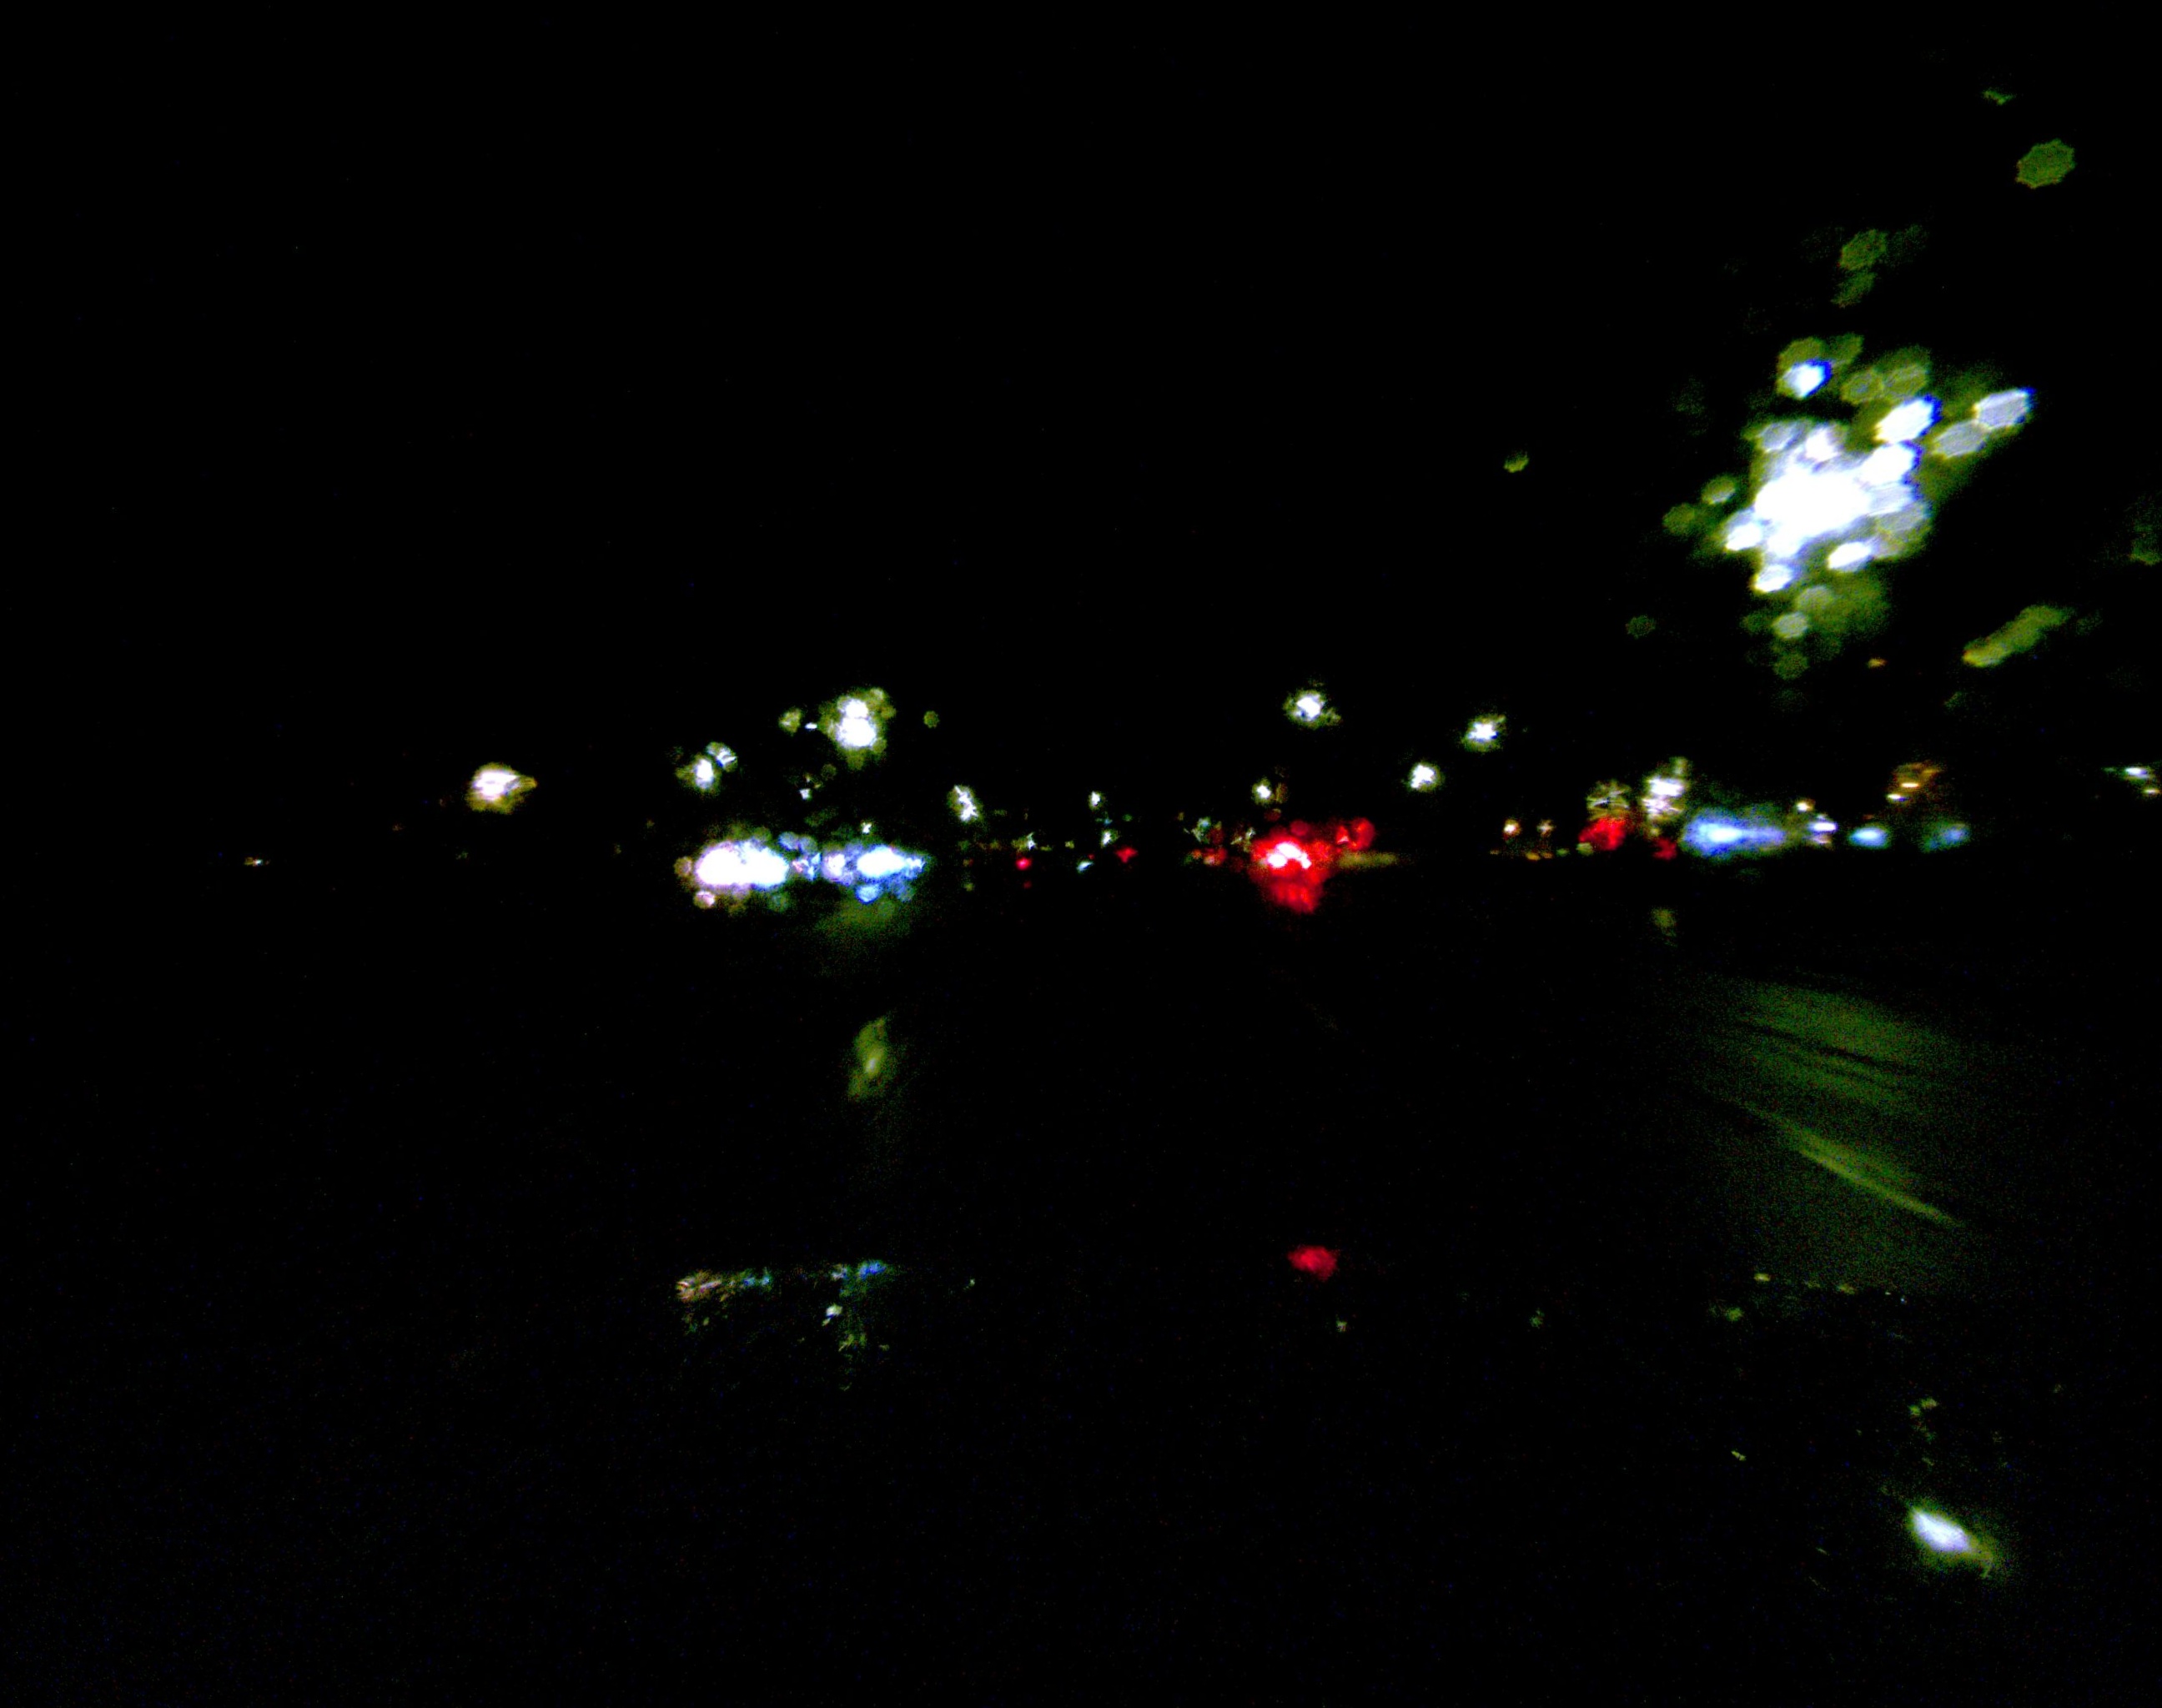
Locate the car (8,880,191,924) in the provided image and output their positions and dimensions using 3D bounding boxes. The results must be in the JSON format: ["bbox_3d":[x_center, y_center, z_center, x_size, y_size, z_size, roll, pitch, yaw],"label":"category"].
[{"bbox_3d":[-40.411,1.909,31.466,1.998,1.512,4.186,0,1,4],"label":"car"}]

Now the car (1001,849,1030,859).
[{"bbox_3d":[-10.532,-0.049,122.591,4.178,1.457,2.002,-1,0,13],"label":"car"}]

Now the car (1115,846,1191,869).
[{"bbox_3d":[5.135,0.254,54.880,5.195,1.573,1.999,-1,0,-3],"label":"car"}]

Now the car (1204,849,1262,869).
[{"bbox_3d":[12.227,0.397,61.072,4.190,1.524,1.996,-1,1,-22],"label":"car"}]

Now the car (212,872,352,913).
[{"bbox_3d":[-32.534,1.506,31.112,1.486,1.439,4.020,-1,0,-1],"label":"car"}]

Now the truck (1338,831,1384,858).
[{"bbox_3d":[26.555,-0.925,71.840,2.316,2.383,7.828,0,1,34],"label":"truck"}]

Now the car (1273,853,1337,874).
[{"bbox_3d":[16.967,0.733,57.504,4.646,1.457,1.644,-1,1,-25],"label":"car"}]

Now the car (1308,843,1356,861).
[{"bbox_3d":[21.750,-0.207,65.737,4.194,1.524,1.994,-1,1,-40],"label":"car"}]

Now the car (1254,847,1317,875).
[{"bbox_3d":[12.417,0.374,45.951,2.063,1.612,4.643,0,1,38],"label":"car"}]

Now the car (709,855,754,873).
[{"bbox_3d":[-30.905,0.864,67.282,1.767,1.444,4.002,-1,1,7],"label":"car"}]

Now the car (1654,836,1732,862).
[{"bbox_3d":[44.519,-0.337,55.385,3.991,1.765,2.003,-1,1,19],"label":"car"}]

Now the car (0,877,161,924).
[{"bbox_3d":[-42.906,1.902,32.076,1.998,1.626,4.815,-2,1,4],"label":"car"}]

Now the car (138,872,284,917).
[{"bbox_3d":[-35.289,1.588,30.984,1.489,1.558,3.880,-1,0,-1],"label":"car"}]

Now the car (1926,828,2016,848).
[{"bbox_3d":[74.406,-1.328,63.602,4.420,1.612,2.003,0,1,25],"label":"car"}]

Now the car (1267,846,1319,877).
[{"bbox_3d":[10.973,0.334,39.585,1.997,1.447,4.305,3,1,8],"label":"car"}]

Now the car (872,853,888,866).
[{"bbox_3d":[-29.505,0.761,111.689,2.000,1.744,3.996,0,1,-10],"label":"car"}]

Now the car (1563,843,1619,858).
[{"bbox_3d":[51.491,-0.340,76.745,4.417,1.524,2.003,0,1,25],"label":"car"}]

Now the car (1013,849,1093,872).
[{"bbox_3d":[-1.820,0.434,51.035,5.093,1.457,2.001,-1,0,5],"label":"car"}]

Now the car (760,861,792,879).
[{"bbox_3d":[-30.758,1.554,76.644,2.000,1.662,4.182,-1,0,-8],"label":"car"}]

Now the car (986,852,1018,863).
[{"bbox_3d":[-11.042,0.511,106.254,4.188,1.457,1.997,-1,0,-17],"label":"car"}]
